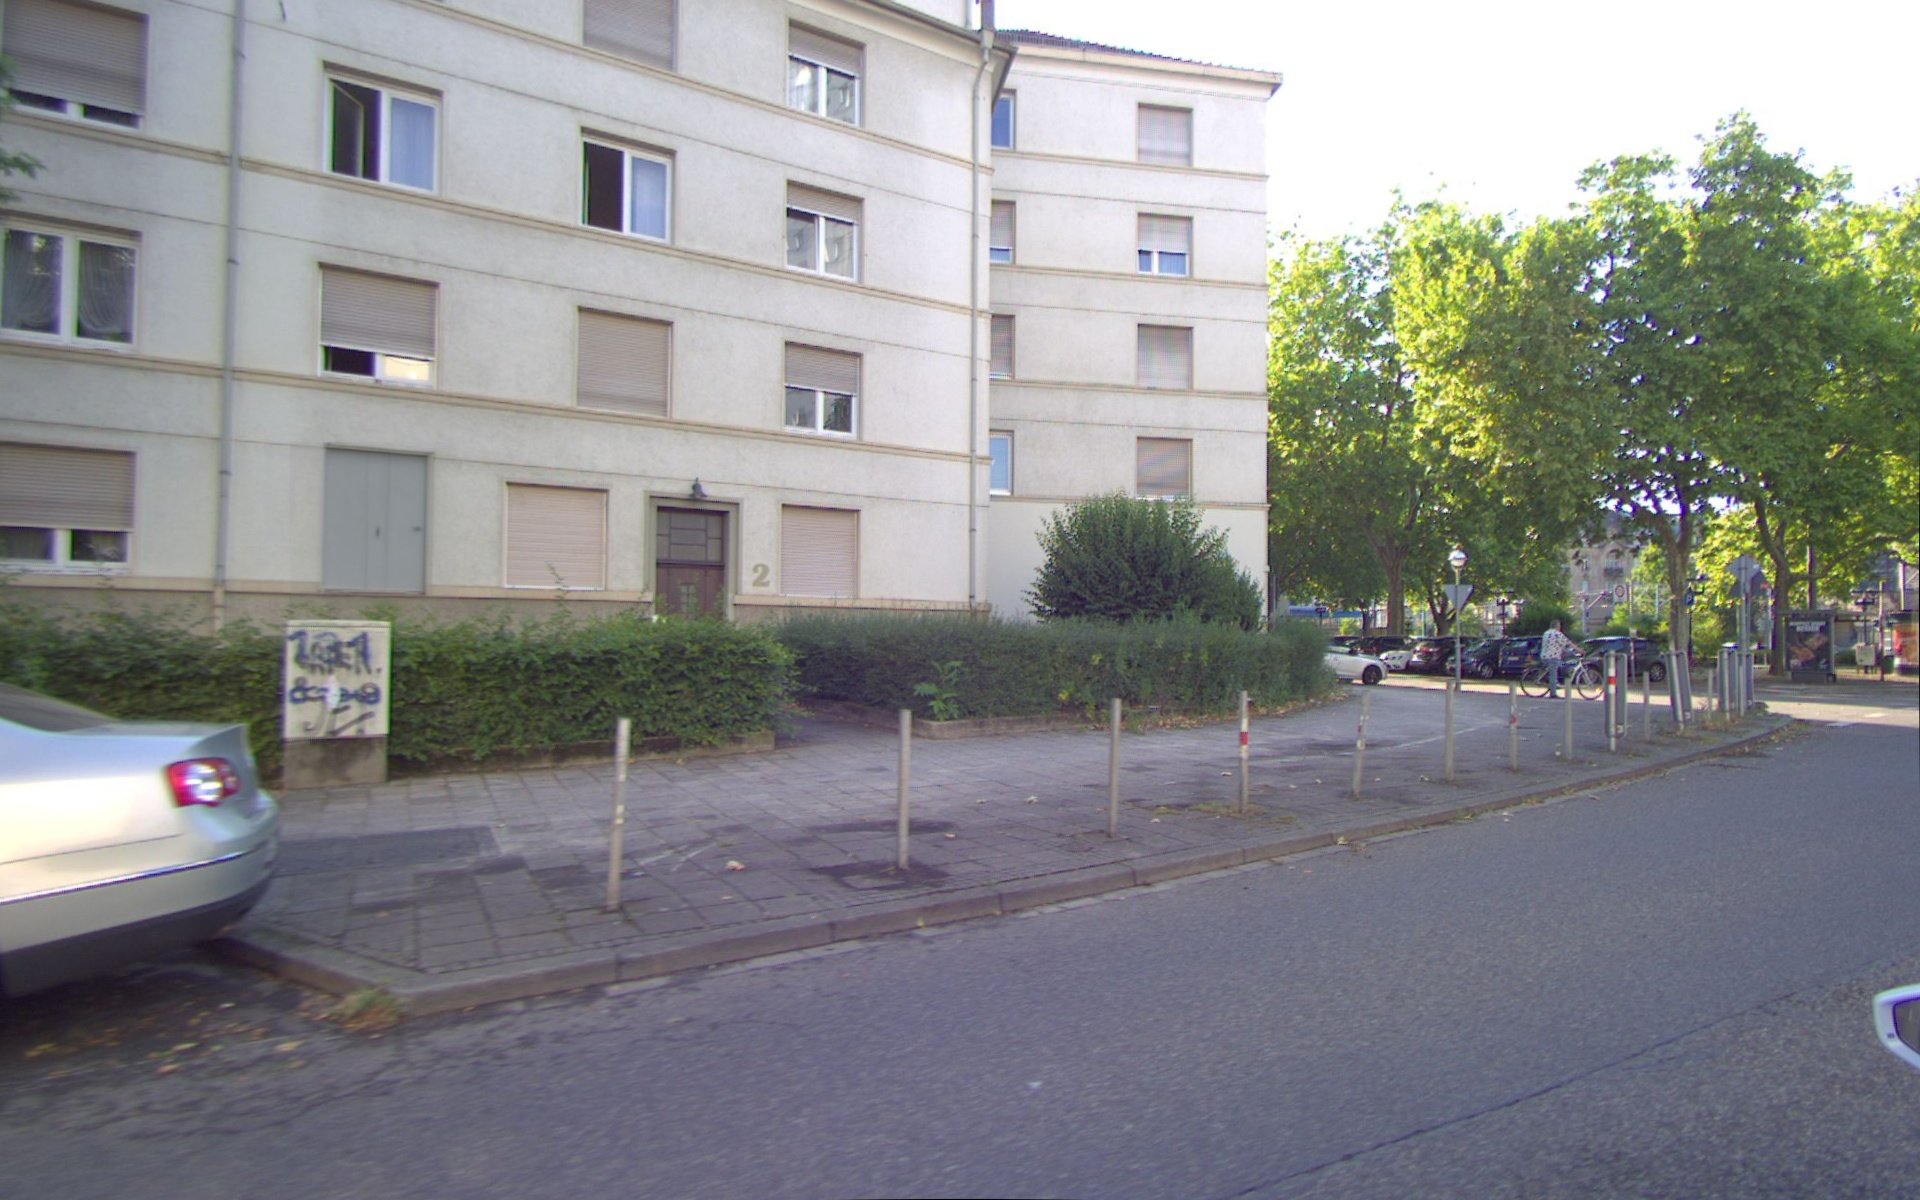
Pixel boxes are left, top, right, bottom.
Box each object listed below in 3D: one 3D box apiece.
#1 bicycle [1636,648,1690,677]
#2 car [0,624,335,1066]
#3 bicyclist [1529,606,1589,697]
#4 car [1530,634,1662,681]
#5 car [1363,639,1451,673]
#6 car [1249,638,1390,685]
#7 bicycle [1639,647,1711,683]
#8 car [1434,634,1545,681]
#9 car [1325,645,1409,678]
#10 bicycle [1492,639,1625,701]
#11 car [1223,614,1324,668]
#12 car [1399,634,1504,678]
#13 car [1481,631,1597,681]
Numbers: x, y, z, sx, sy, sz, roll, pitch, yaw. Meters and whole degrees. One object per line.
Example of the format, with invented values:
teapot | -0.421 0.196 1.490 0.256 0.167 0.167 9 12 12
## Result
bicycle | 26.228 2.323 37.457 2.185 1.005 0.548 2 -1 -23
car | -4.831 0.760 3.250 4.656 1.370 1.761 3 -1 -30
bicyclist | 13.844 1.179 23.241 0.781 2.040 0.978 2 0 5
car | 21.573 1.945 34.139 3.585 1.537 1.752 1 -2 -12
car | 19.591 2.475 43.971 3.653 1.353 1.642 3 -1 -29
car | 11.510 1.972 32.284 3.962 1.353 1.653 2 -3 -9
bicycle | 24.244 2.212 34.018 3.254 1.161 0.714 3 -1 -31
car | 20.672 2.246 39.234 3.948 1.639 1.867 3 -1 -26
car | 18.666 2.825 46.084 3.653 1.353 1.642 3 -1 -29
bicycle | 13.818 1.605 23.255 2.433 1.281 1.012 2 -1 5
car | 18.414 2.458 59.075 5.463 2.947 1.653 2 -3 -9
car | 20.394 2.332 41.679 3.948 1.639 1.867 3 -1 -26
car | 21.515 2.052 37.309 3.947 1.639 1.868 -1 -1 -26
